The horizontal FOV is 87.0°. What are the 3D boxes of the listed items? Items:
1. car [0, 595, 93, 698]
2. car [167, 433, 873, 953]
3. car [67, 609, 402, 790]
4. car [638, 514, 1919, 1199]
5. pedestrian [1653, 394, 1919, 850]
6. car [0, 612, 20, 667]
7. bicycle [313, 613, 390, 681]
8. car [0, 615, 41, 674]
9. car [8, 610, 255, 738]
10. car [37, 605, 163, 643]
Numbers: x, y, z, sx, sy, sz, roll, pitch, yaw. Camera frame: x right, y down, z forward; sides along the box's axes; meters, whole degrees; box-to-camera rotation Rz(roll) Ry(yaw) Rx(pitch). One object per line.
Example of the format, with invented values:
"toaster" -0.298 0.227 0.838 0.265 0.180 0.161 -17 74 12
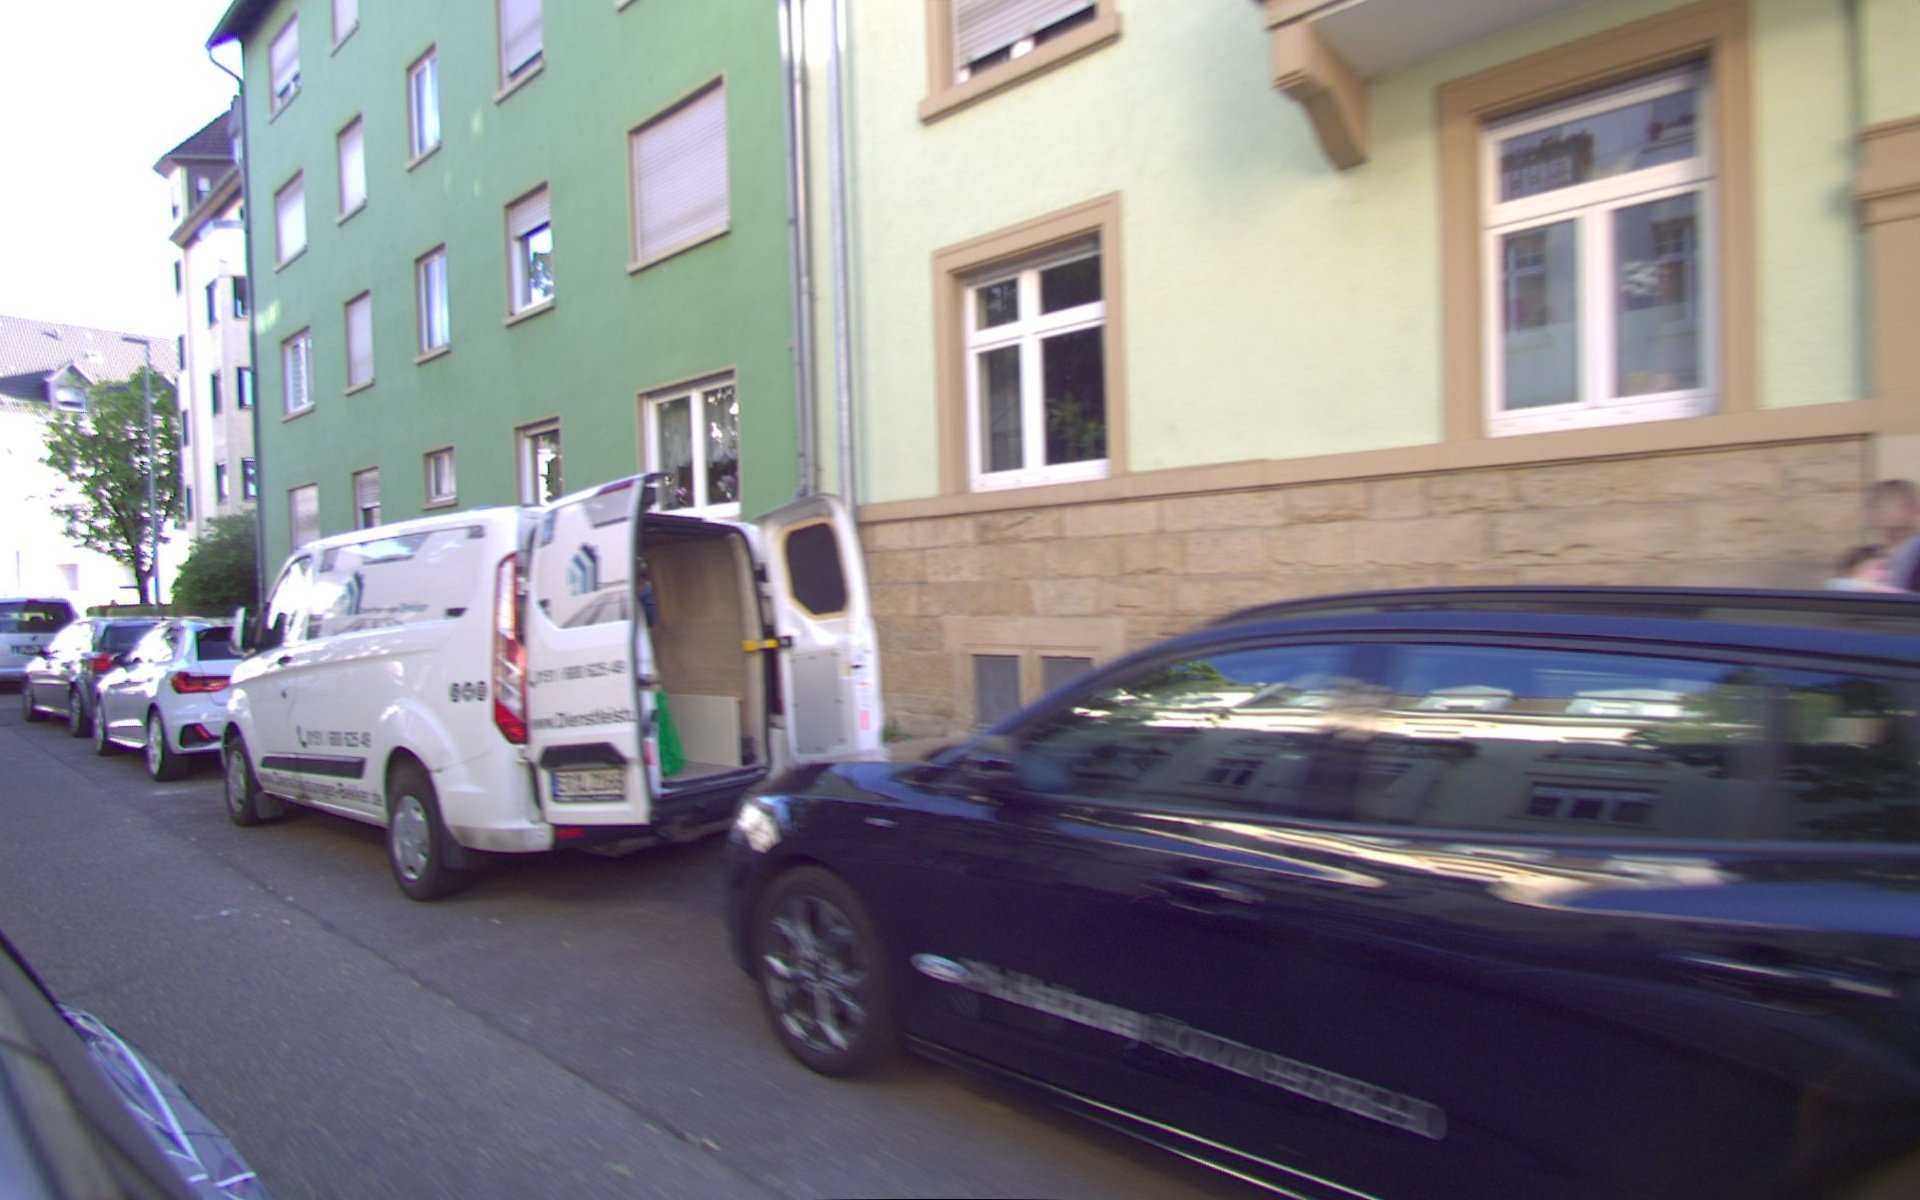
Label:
"car" -18.662 0.849 19.815 4.410 1.857 1.754 -1 -1 38
"car" -3.231 0.424 6.795 5.238 2.185 2.229 -1 -1 40
"car" -7.568 0.844 10.388 4.360 1.473 1.814 -1 -1 41
"car" 1.225 0.645 2.693 4.823 1.533 1.748 -1 0 42
"pedestrian" 3.727 0.066 4.231 1.242 1.687 0.982 -1 2 41
"car" -29.439 1.177 29.916 4.065 1.567 1.703 -1 -1 36
"bicycle" -10.638 0.795 17.661 1.969 1.083 0.482 0 5 41
"car" -25.450 1.149 26.349 4.204 1.464 1.748 -1 -2 41
"car" -11.325 0.880 13.721 4.501 1.473 1.703 -1 -1 39
"car" -42.107 1.136 49.647 1.993 1.569 4.240 -2 2 32
